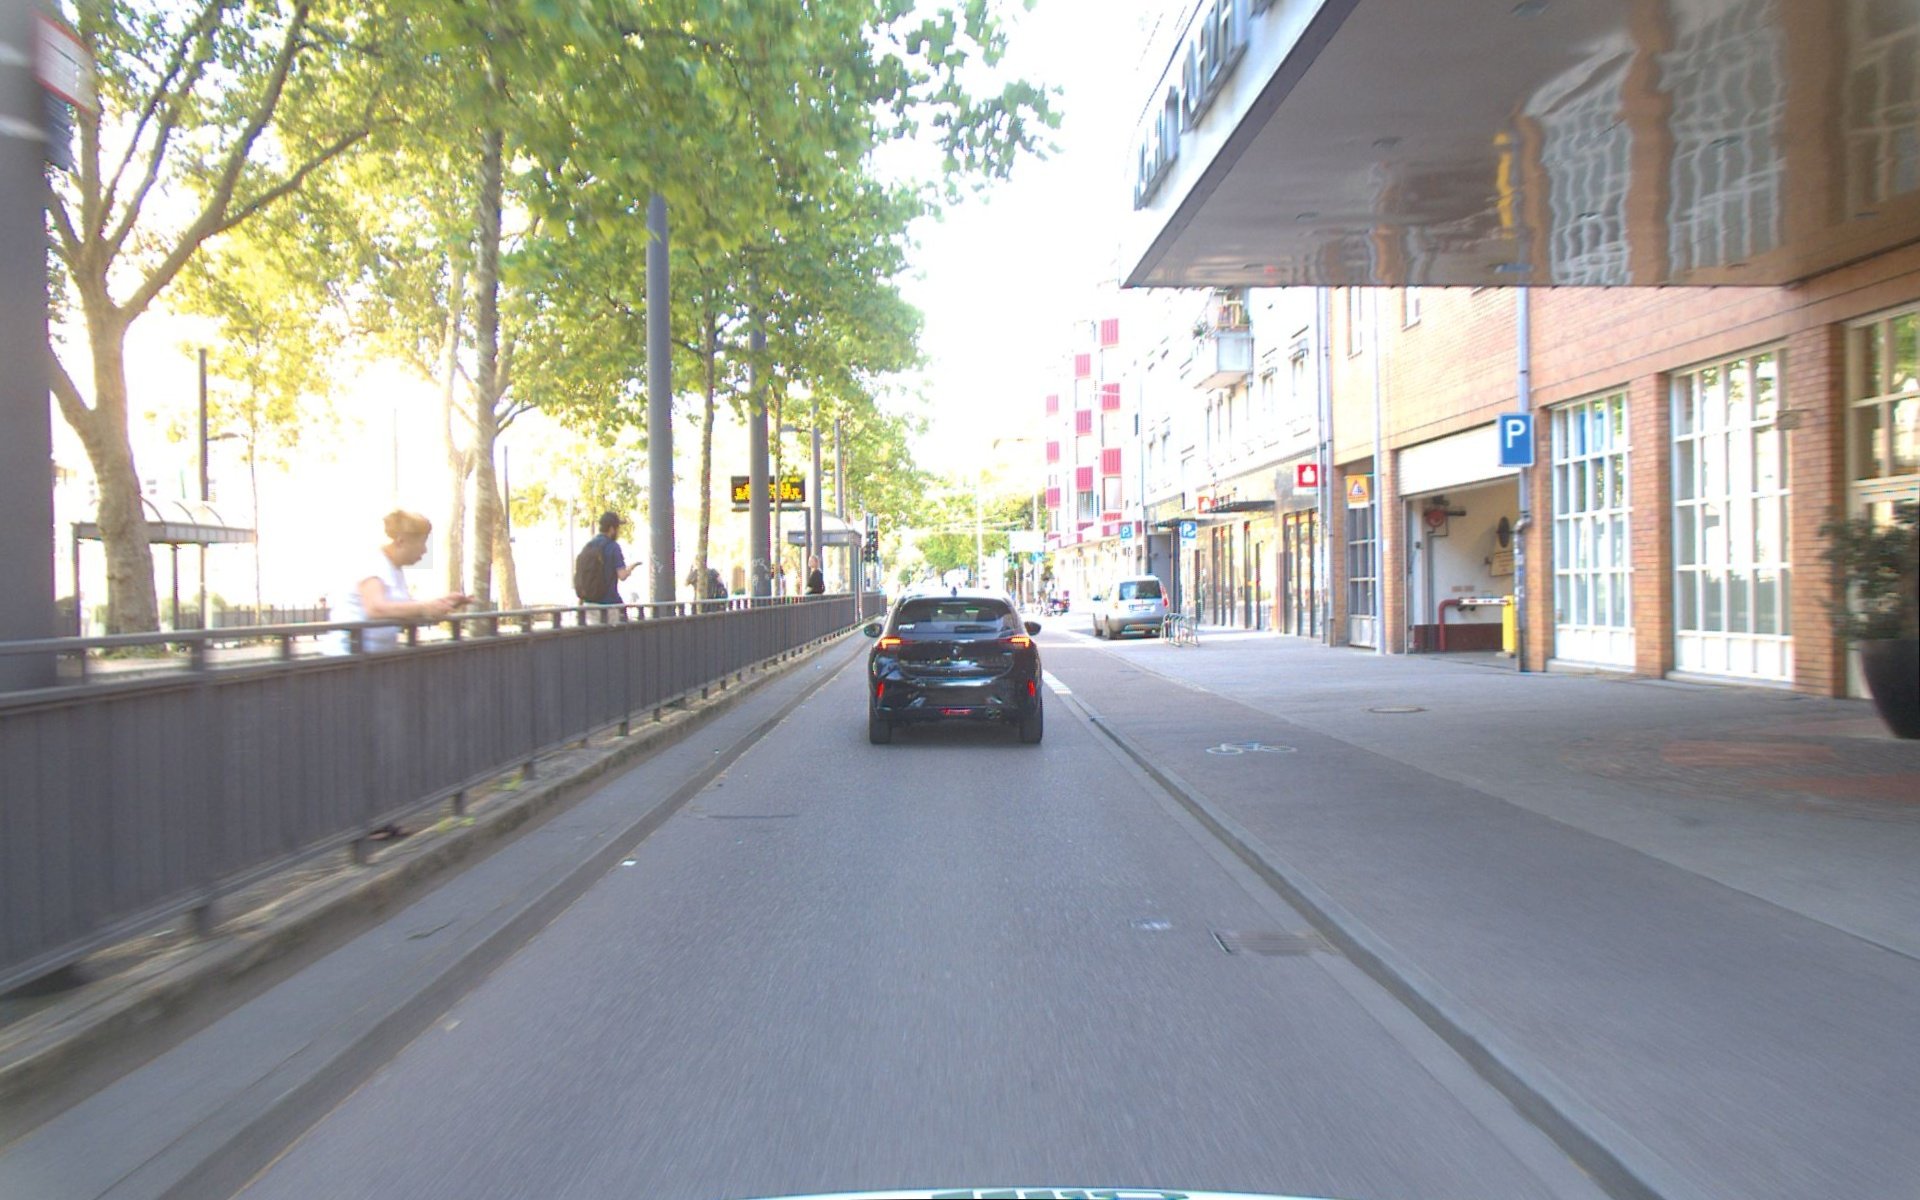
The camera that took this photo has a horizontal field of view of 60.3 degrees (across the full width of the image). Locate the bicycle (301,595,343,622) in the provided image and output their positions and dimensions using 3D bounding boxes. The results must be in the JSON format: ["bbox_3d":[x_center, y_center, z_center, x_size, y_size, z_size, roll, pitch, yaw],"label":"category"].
[{"bbox_3d":[-24.948,0.318,64.690,0.784,1.014,2.584,1,1,-4],"label":"bicycle"}]

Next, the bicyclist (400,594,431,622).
[{"bbox_3d":[-24.895,0.368,75.652,0.984,1.272,1.373,1,0,-4],"label":"bicyclist"}]

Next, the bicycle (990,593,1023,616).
[{"bbox_3d":[2.562,0.235,91.275,1.793,1.242,0.496,-1,0,2],"label":"bicycle"}]

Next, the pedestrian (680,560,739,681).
[{"bbox_3d":[-3.639,0.288,24.064,0.714,1.732,0.863,0,0,0],"label":"pedestrian"}]

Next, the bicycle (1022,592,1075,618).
[{"bbox_3d":[4.167,0.241,78.030,0.955,1.204,2.557,-1,0,-42],"label":"bicycle"}]

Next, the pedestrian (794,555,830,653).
[{"bbox_3d":[-2.911,0.077,32.659,0.633,1.920,0.661,-1,0,-1],"label":"pedestrian"}]

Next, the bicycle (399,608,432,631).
[{"bbox_3d":[-24.921,0.888,75.707,0.784,1.014,2.584,1,1,-4],"label":"bicycle"}]

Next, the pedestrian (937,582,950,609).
[{"bbox_3d":[-1.282,-0.352,128.543,1.015,2.059,1.212,-1,0,-3],"label":"pedestrian"}]

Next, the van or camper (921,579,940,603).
[{"bbox_3d":[-3.935,-1.184,220.411,2.436,3.046,5.433,1,0,-1],"label":"van or camper"}]

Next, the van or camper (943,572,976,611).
[{"bbox_3d":[-0.084,-0.747,146.879,2.328,3.179,7.546,-4,0,-3],"label":"van or camper"}]

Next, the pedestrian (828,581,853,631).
[{"bbox_3d":[-3.259,0.152,45.130,0.613,1.342,0.801,-1,0,-1],"label":"pedestrian"}]

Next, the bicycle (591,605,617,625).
[{"bbox_3d":[-17.416,0.728,81.005,0.796,0.962,1.727,-1,0,4],"label":"bicycle"}]

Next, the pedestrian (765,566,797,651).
[{"bbox_3d":[-4.067,0.187,37.547,0.632,1.904,0.753,0,0,-1],"label":"pedestrian"}]

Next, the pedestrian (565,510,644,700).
[{"bbox_3d":[-3.518,0.043,16.419,0.693,1.833,0.825,-1,0,-8],"label":"pedestrian"}]

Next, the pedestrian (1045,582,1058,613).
[{"bbox_3d":[5.624,-0.137,102.128,0.708,1.890,0.800,-1,0,-2],"label":"pedestrian"}]

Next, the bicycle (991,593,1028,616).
[{"bbox_3d":[2.682,0.226,90.391,1.939,1.220,0.590,-1,0,-6],"label":"bicycle"}]

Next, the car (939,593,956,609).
[{"bbox_3d":[-1.325,0.123,173.792,1.754,1.536,3.873,-3,0,-1],"label":"car"}]

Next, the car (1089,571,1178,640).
[{"bbox_3d":[4.635,0.142,44.658,1.796,1.651,4.283,-4,0,-1],"label":"car"}]

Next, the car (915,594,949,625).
[{"bbox_3d":[-1.548,0.516,92.132,1.795,1.651,4.283,-1,0,-1],"label":"car"}]

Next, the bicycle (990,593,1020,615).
[{"bbox_3d":[2.500,0.229,91.844,1.589,1.220,0.496,-1,0,3],"label":"bicycle"}]

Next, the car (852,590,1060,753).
[{"bbox_3d":[-0.067,0.632,17.096,1.866,1.450,4.214,-1,0,-1],"label":"car"}]

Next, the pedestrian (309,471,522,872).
[{"bbox_3d":[-2.437,0.312,7.475,0.725,1.719,0.645,1,0,-3],"label":"pedestrian"}]

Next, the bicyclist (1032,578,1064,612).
[{"bbox_3d":[4.152,-0.239,78.030,1.051,1.567,1.062,-1,0,-42],"label":"bicyclist"}]

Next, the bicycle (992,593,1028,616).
[{"bbox_3d":[2.691,0.228,89.656,1.902,1.190,0.572,-1,0,-5],"label":"bicycle"}]

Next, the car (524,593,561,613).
[{"bbox_3d":[-37.945,0.252,150.435,1.952,1.733,4.379,-1,0,3],"label":"car"}]

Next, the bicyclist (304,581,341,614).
[{"bbox_3d":[-24.958,-0.093,64.768,0.984,1.272,1.373,1,0,-4],"label":"bicyclist"}]

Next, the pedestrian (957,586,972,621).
[{"bbox_3d":[0.223,0.177,86.360,0.719,1.777,0.712,-1,0,3],"label":"pedestrian"}]
